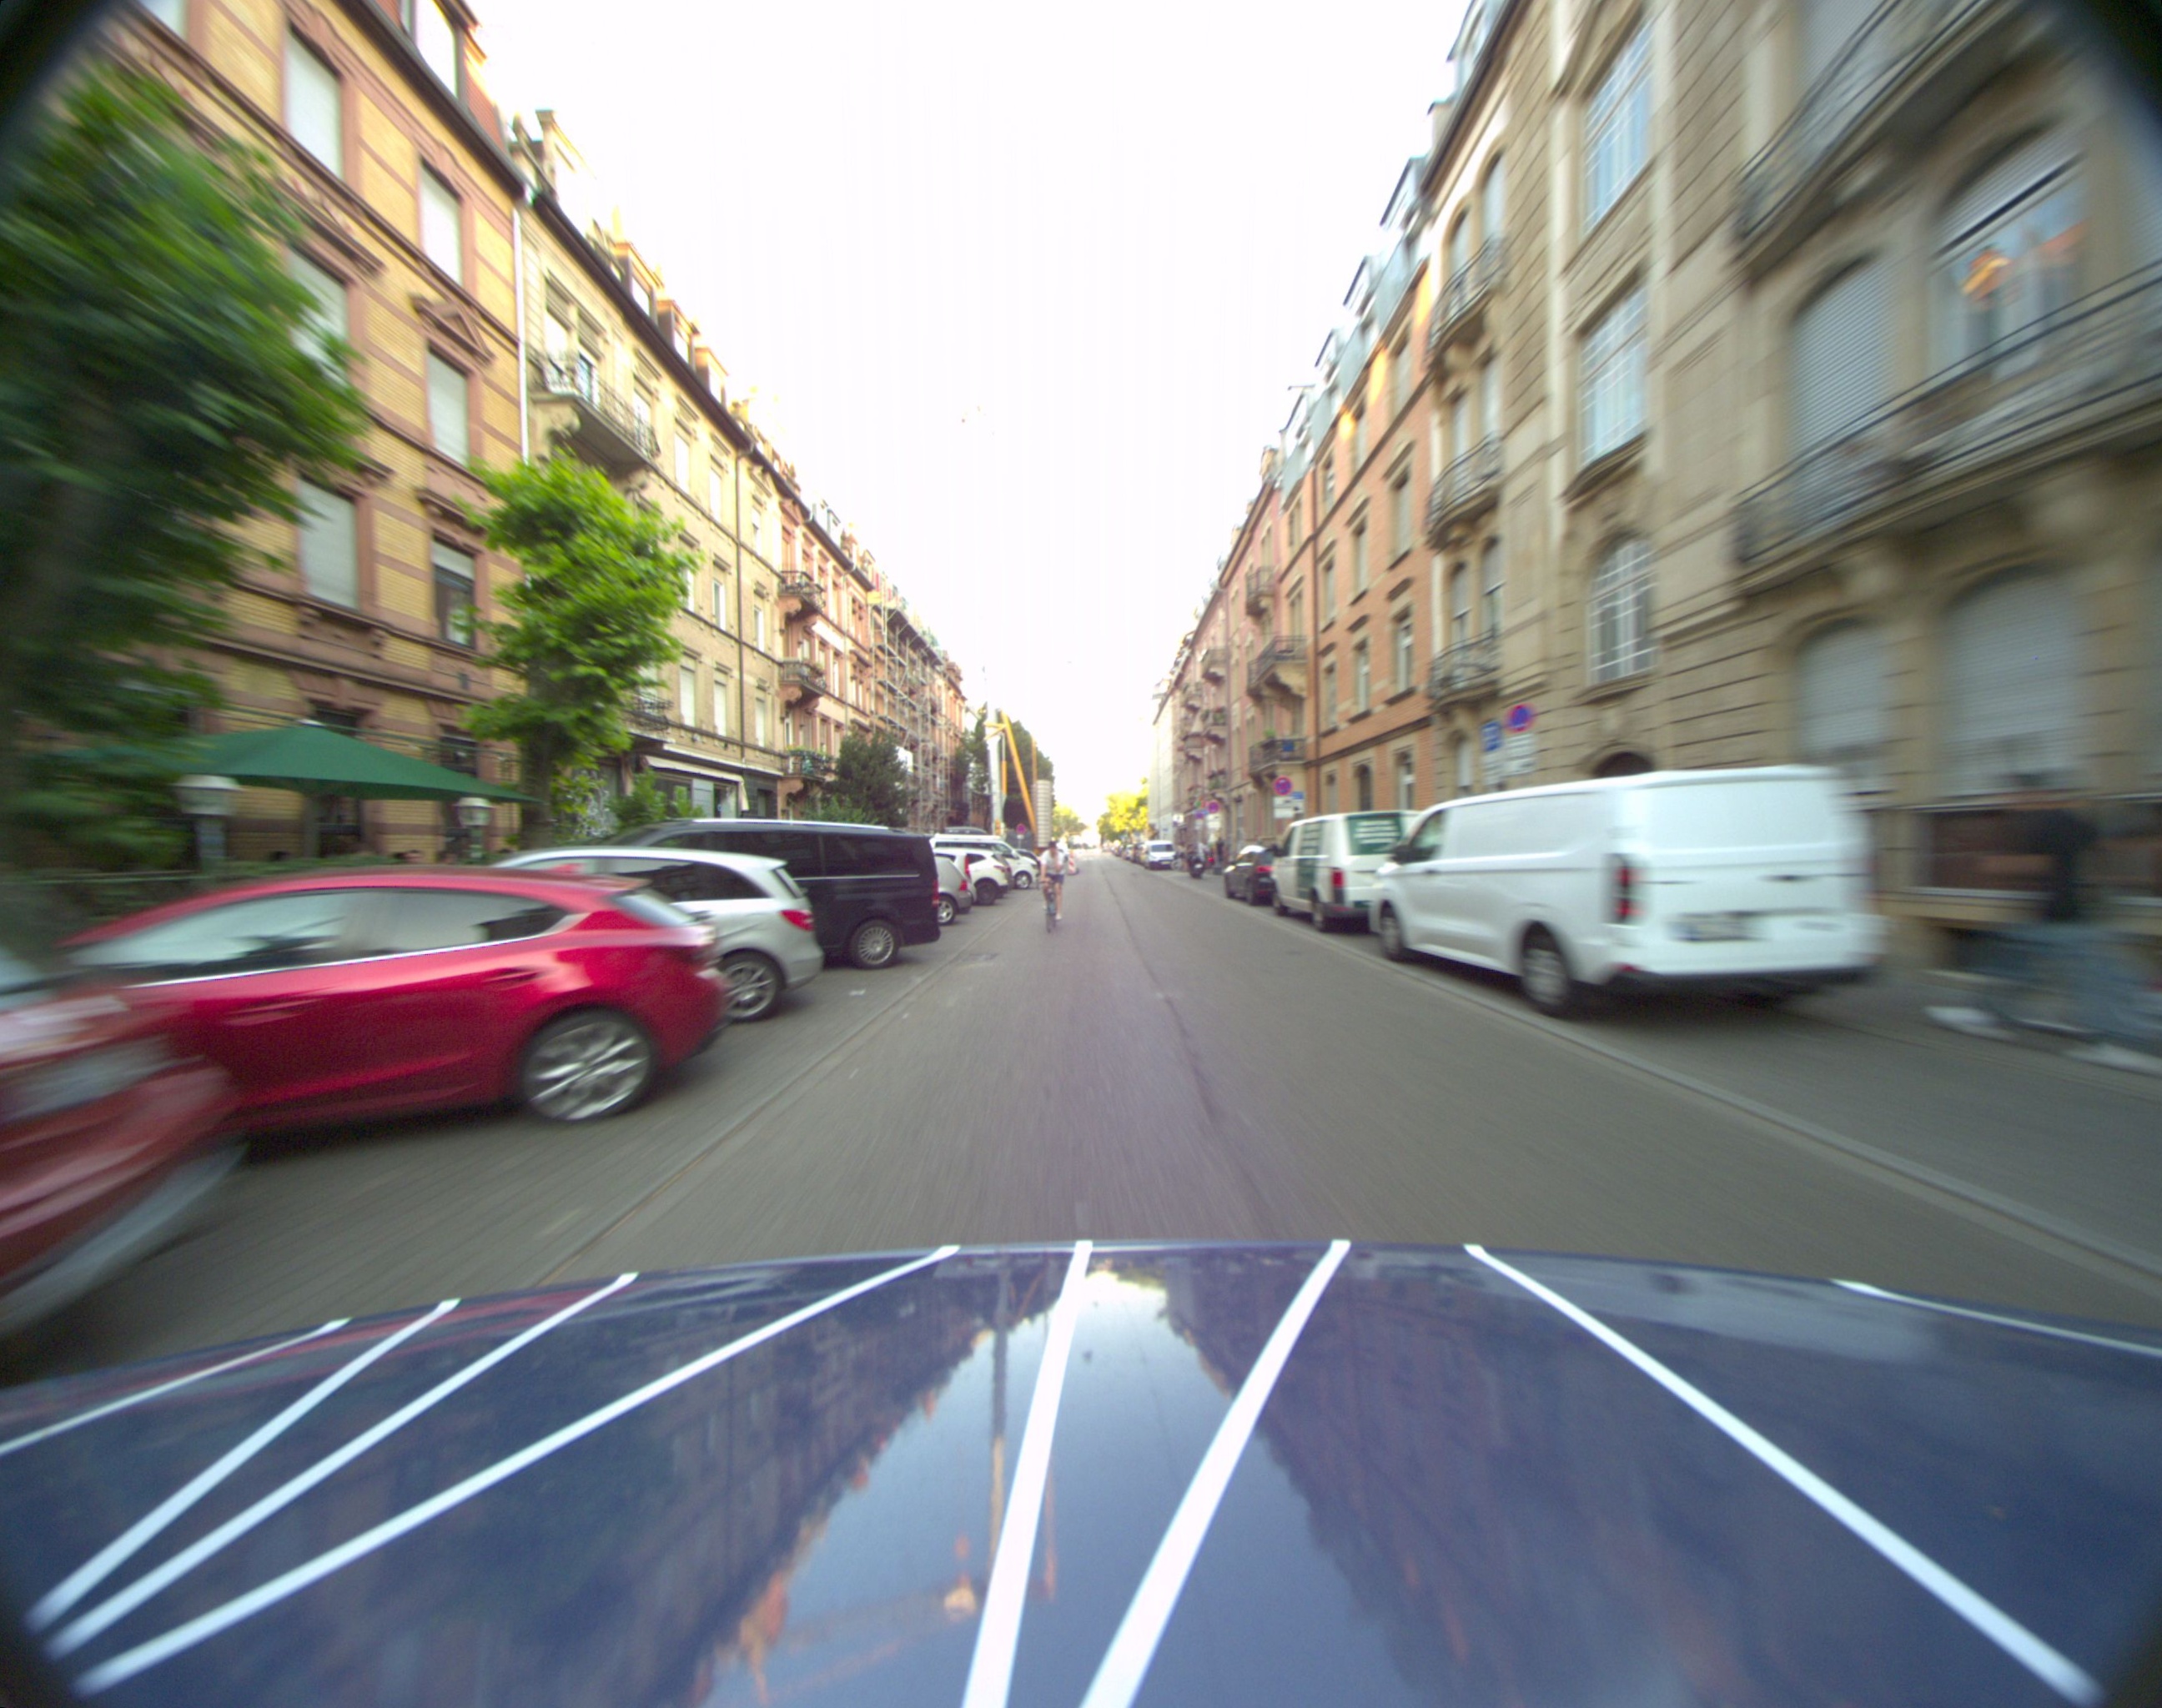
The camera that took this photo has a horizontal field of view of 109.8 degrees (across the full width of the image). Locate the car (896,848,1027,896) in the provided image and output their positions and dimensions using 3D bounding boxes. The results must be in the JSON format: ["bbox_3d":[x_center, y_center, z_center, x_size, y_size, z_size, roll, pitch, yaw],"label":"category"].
[{"bbox_3d":[-4.189,0.583,26.768,4.172,1.581,1.881,-1,1,-27],"label":"car"}]

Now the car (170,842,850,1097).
[{"bbox_3d":[-4.457,0.760,6.738,4.232,1.613,1.928,1,0,-32],"label":"car"}]

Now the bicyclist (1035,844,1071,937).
[{"bbox_3d":[-0.523,0.673,14.509,0.528,1.694,0.789,-2,2,4],"label":"bicyclist"}]

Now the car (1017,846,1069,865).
[{"bbox_3d":[-3.187,0.141,63.456,4.003,1.480,1.680,1,1,-33],"label":"car"}]

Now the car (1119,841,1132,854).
[{"bbox_3d":[6.642,-0.989,113.406,1.785,1.860,4.457,-2,1,3],"label":"car"}]

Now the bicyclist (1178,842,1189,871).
[{"bbox_3d":[5.589,0.141,41.467,0.466,1.581,0.487,-2,2,4],"label":"bicyclist"}]

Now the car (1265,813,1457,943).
[{"bbox_3d":[4.778,0.324,13.808,1.841,1.910,4.845,-1,1,2],"label":"car"}]

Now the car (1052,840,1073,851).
[{"bbox_3d":[-4.009,-1.823,165.147,4.202,2.280,1.673,0,2,-38],"label":"car"}]

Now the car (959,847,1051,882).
[{"bbox_3d":[-3.512,0.449,35.183,3.872,1.507,1.844,-1,1,-25],"label":"car"}]

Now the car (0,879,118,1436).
[{"bbox_3d":[-4.785,0.880,0.975,4.056,1.618,1.689,0,0,-30],"label":"car"}]

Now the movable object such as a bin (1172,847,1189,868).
[{"bbox_3d":[5.917,0.202,45.134,0.889,1.244,0.776,-2,2,2],"label":"movable object such as a bin"}]

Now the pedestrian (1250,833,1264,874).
[{"bbox_3d":[7.783,-0.018,33.570,0.464,1.779,0.642,-2,2,5],"label":"pedestrian"}]

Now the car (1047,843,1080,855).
[{"bbox_3d":[-2.235,-0.623,96.809,3.841,1.510,1.673,1,2,-31],"label":"car"}]

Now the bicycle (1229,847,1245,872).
[{"bbox_3d":[7.674,0.277,37.370,0.412,1.153,1.837,-2,2,2],"label":"bicycle"}]

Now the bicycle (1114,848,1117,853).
[{"bbox_3d":[6.386,-0.654,139.425,0.477,0.939,1.895,-2,1,0],"label":"bicycle"}]

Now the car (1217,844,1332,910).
[{"bbox_3d":[4.837,0.512,19.590,1.841,1.462,4.171,-1,1,-1],"label":"car"}]

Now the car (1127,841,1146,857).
[{"bbox_3d":[6.016,-0.569,82.502,1.730,1.638,3.916,-2,1,1],"label":"car"}]

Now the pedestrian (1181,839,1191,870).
[{"bbox_3d":[5.826,0.016,42.073,0.419,1.699,0.350,-2,2,-4],"label":"pedestrian"}]

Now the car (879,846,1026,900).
[{"bbox_3d":[-4.047,0.590,24.100,4.174,1.581,1.881,1,0,-29],"label":"car"}]

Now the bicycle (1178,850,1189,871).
[{"bbox_3d":[5.578,0.346,41.292,0.466,1.062,1.520,-2,2,5],"label":"bicycle"}]

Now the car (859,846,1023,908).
[{"bbox_3d":[-3.876,0.619,21.176,4.116,1.581,1.814,1,0,-29],"label":"car"}]

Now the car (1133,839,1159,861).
[{"bbox_3d":[5.744,-0.397,67.905,1.932,1.872,4.904,-1,1,0],"label":"car"}]

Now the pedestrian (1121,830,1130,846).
[{"bbox_3d":[8.171,-2.947,138.721,1.445,2.725,1.011,-2,2,0],"label":"pedestrian"}]

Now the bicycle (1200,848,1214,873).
[{"bbox_3d":[6.253,0.327,37.757,0.412,1.153,1.837,-2,2,2],"label":"bicycle"}]

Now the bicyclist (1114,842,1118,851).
[{"bbox_3d":[6.346,-1.330,139.314,0.624,1.682,1.003,-2,2,0],"label":"bicyclist"}]

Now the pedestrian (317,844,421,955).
[{"bbox_3d":[-9.142,0.559,9.782,0.589,1.358,0.697,-2,2,-2],"label":"pedestrian"}]

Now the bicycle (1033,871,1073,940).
[{"bbox_3d":[-0.512,0.949,14.594,0.520,1.148,1.783,-2,2,4],"label":"bicycle"}]

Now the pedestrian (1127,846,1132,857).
[{"bbox_3d":[5.596,-0.292,87.387,0.571,1.315,0.496,-2,2,0],"label":"pedestrian"}]

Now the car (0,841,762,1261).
[{"bbox_3d":[-4.298,0.808,4.300,4.233,1.678,1.928,1,0,-37],"label":"car"}]

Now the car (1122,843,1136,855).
[{"bbox_3d":[6.846,-0.717,108.428,1.785,1.538,4.000,-2,1,3],"label":"car"}]

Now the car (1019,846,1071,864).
[{"bbox_3d":[-3.165,0.085,66.442,4.178,1.480,1.826,1,1,-35],"label":"car"}]

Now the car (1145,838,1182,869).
[{"bbox_3d":[5.140,-0.070,47.963,1.775,1.779,4.586,-2,1,0],"label":"car"}]

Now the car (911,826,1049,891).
[{"bbox_3d":[-3.923,0.140,29.628,4.945,2.349,1.996,-1,1,-25],"label":"car"}]

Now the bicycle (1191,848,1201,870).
[{"bbox_3d":[6.343,0.268,42.028,0.466,1.148,2.001,-2,2,8],"label":"bicycle"}]

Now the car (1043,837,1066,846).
[{"bbox_3d":[-4.898,-2.231,138.915,3.840,1.510,1.673,1,2,-27],"label":"car"}]

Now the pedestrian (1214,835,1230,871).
[{"bbox_3d":[7.259,-0.059,39.116,0.683,1.800,0.961,-2,2,5],"label":"pedestrian"}]

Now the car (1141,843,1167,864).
[{"bbox_3d":[5.556,-0.091,58.107,1.709,1.521,3.792,-1,1,3],"label":"car"}]

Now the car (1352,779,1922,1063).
[{"bbox_3d":[4.724,0.426,7.739,2.115,1.910,5.024,-1,1,0],"label":"car"}]

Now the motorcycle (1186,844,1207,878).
[{"bbox_3d":[5.020,0.275,33.236,0.686,1.397,2.014,-2,2,4],"label":"motorcycle"}]

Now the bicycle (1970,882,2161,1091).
[{"bbox_3d":[6.534,0.803,4.535,0.472,1.136,1.785,-2,2,5],"label":"bicycle"}]

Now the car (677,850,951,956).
[{"bbox_3d":[-4.495,0.759,12.914,4.116,1.543,1.814,1,0,-30],"label":"car"}]

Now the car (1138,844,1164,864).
[{"bbox_3d":[5.770,-0.019,62.589,1.932,1.587,3.970,-1,1,3],"label":"car"}]

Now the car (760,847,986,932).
[{"bbox_3d":[-4.229,0.682,15.587,4.116,1.543,1.814,1,0,-30],"label":"car"}]

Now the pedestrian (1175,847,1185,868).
[{"bbox_3d":[5.902,0.201,45.209,0.479,1.244,0.652,-2,2,2],"label":"pedestrian"}]

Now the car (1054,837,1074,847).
[{"bbox_3d":[-3.884,-2.735,173.568,4.201,2.246,1.673,1,2,-34],"label":"car"}]

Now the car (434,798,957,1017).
[{"bbox_3d":[-4.485,0.547,9.570,5.448,2.060,1.928,1,0,-37],"label":"car"}]

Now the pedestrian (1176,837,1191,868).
[{"bbox_3d":[5.992,-0.089,44.444,0.600,1.804,0.720,-3,2,-7],"label":"pedestrian"}]

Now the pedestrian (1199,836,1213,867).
[{"bbox_3d":[7.288,-0.139,44.325,0.598,1.804,0.721,-2,2,19],"label":"pedestrian"}]

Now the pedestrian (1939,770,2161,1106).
[{"bbox_3d":[5.967,0.441,4.567,0.537,1.813,0.997,-2,2,5],"label":"pedestrian"}]

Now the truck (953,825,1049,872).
[{"bbox_3d":[-5.745,-0.432,55.411,6.494,3.059,2.524,-2,2,4],"label":"truck"}]

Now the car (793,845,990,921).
[{"bbox_3d":[-4.418,0.647,17.977,4.117,1.581,1.813,1,0,-36],"label":"car"}]
